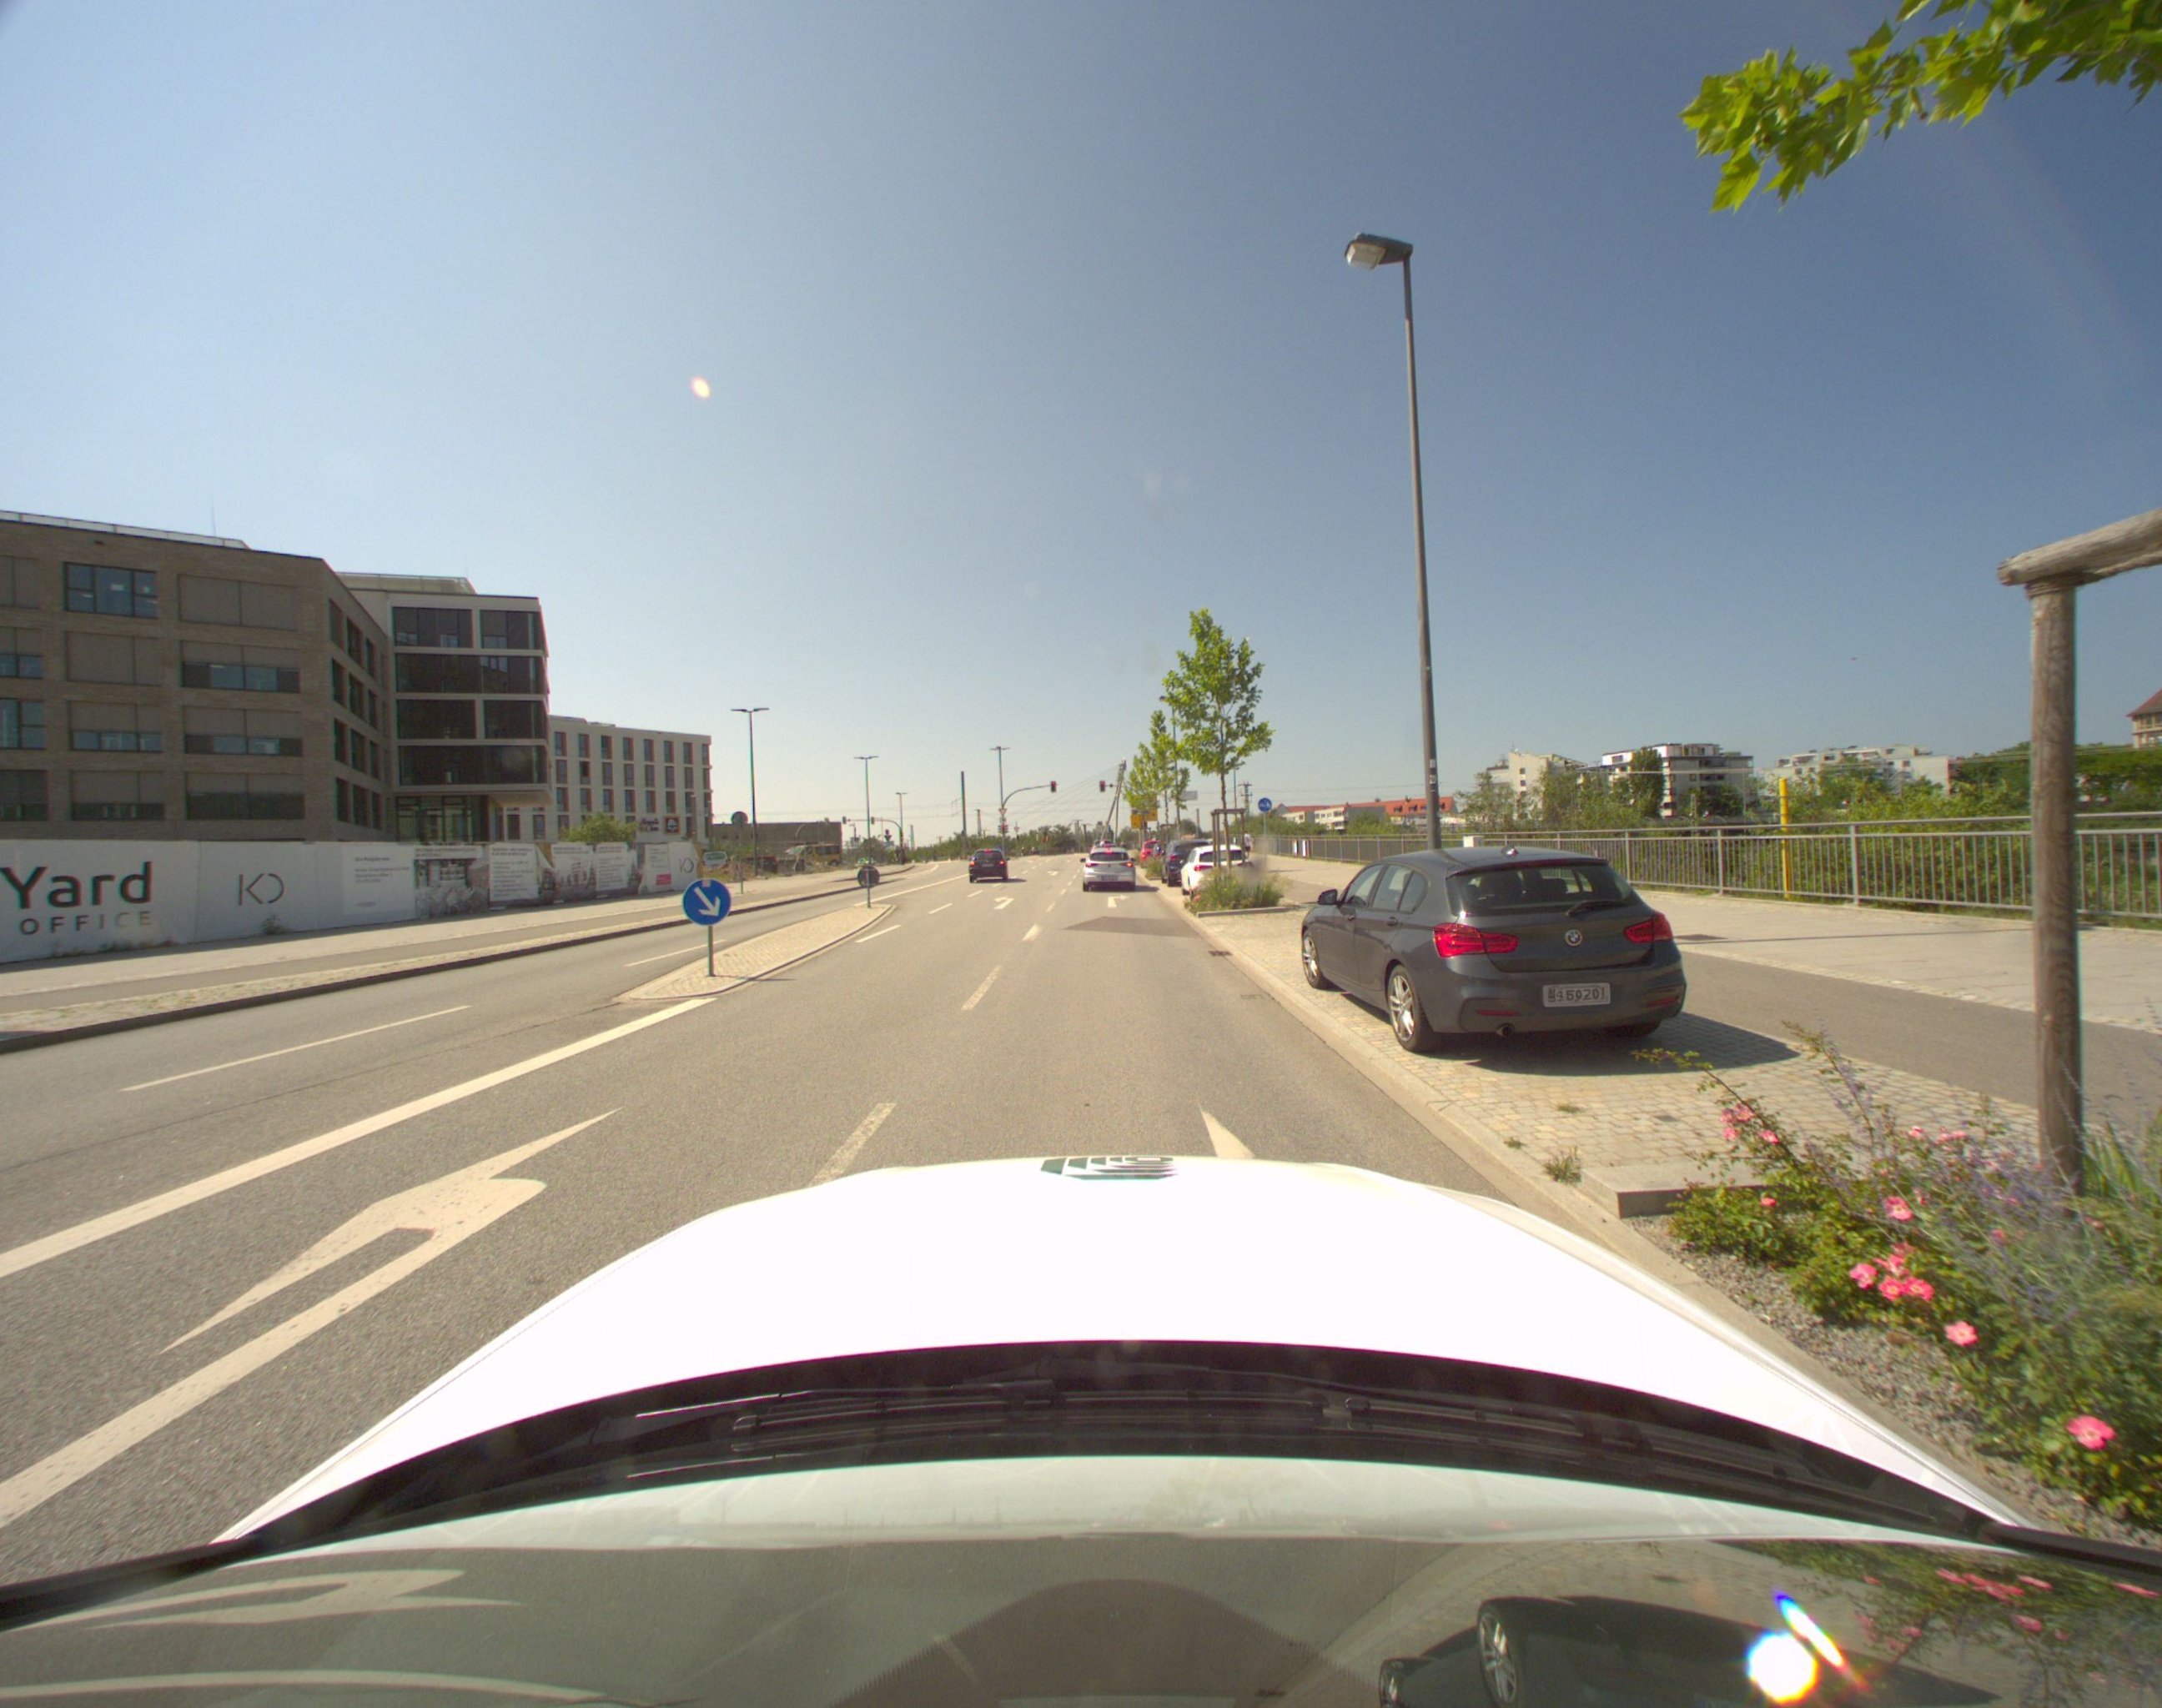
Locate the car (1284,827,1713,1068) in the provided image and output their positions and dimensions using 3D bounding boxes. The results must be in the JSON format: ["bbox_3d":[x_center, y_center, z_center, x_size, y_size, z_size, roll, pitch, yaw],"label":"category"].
[{"bbox_3d":[3.129,0.611,7.219,1.697,1.401,4.272,-4,-1,3],"label":"car"}]

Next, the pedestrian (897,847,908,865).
[{"bbox_3d":[-16.518,0.214,75.519,0.842,1.646,0.827,-1,0,-4],"label":"pedestrian"}]

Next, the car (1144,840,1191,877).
[{"bbox_3d":[4.094,0.196,38.971,1.772,1.503,4.002,-6,0,2],"label":"car"}]

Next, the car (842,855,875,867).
[{"bbox_3d":[-31.835,1.013,116.565,3.958,1.772,2.008,-1,-1,14],"label":"car"}]

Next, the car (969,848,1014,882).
[{"bbox_3d":[-3.934,0.462,36.191,1.615,1.416,3.725,-1,0,-1],"label":"car"}]

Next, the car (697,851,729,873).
[{"bbox_3d":[-29.800,0.631,65.894,2.038,1.672,4.558,-2,0,-29],"label":"car"}]

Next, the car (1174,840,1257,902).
[{"bbox_3d":[3.671,0.425,22.843,1.690,1.475,4.207,-3,0,2],"label":"car"}]

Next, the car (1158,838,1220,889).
[{"bbox_3d":[3.820,0.286,29.353,1.815,1.616,3.614,-4,1,3],"label":"car"}]

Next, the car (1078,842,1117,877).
[{"bbox_3d":[0.821,0.218,40.274,1.771,1.568,4.002,-2,1,2],"label":"car"}]

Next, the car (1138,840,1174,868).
[{"bbox_3d":[4.354,-0.008,47.614,1.771,1.503,4.002,-3,0,2],"label":"car"}]

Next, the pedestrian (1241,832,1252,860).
[{"bbox_3d":[9.242,-0.438,45.463,0.531,1.575,0.524,-1,-2,1],"label":"pedestrian"}]

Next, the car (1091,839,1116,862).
[{"bbox_3d":[1.669,-0.288,61.385,1.771,1.568,4.002,-2,1,2],"label":"car"}]

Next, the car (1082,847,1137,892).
[{"bbox_3d":[0.992,0.489,28.595,1.771,1.442,4.001,-1,0,2],"label":"car"}]

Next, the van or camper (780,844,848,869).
[{"bbox_3d":[-21.049,0.215,64.296,1.975,1.897,4.745,-2,-2,44],"label":"van or camper"}]

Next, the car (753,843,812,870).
[{"bbox_3d":[-24.281,0.197,66.279,1.974,2.013,4.025,-1,0,40],"label":"car"}]
